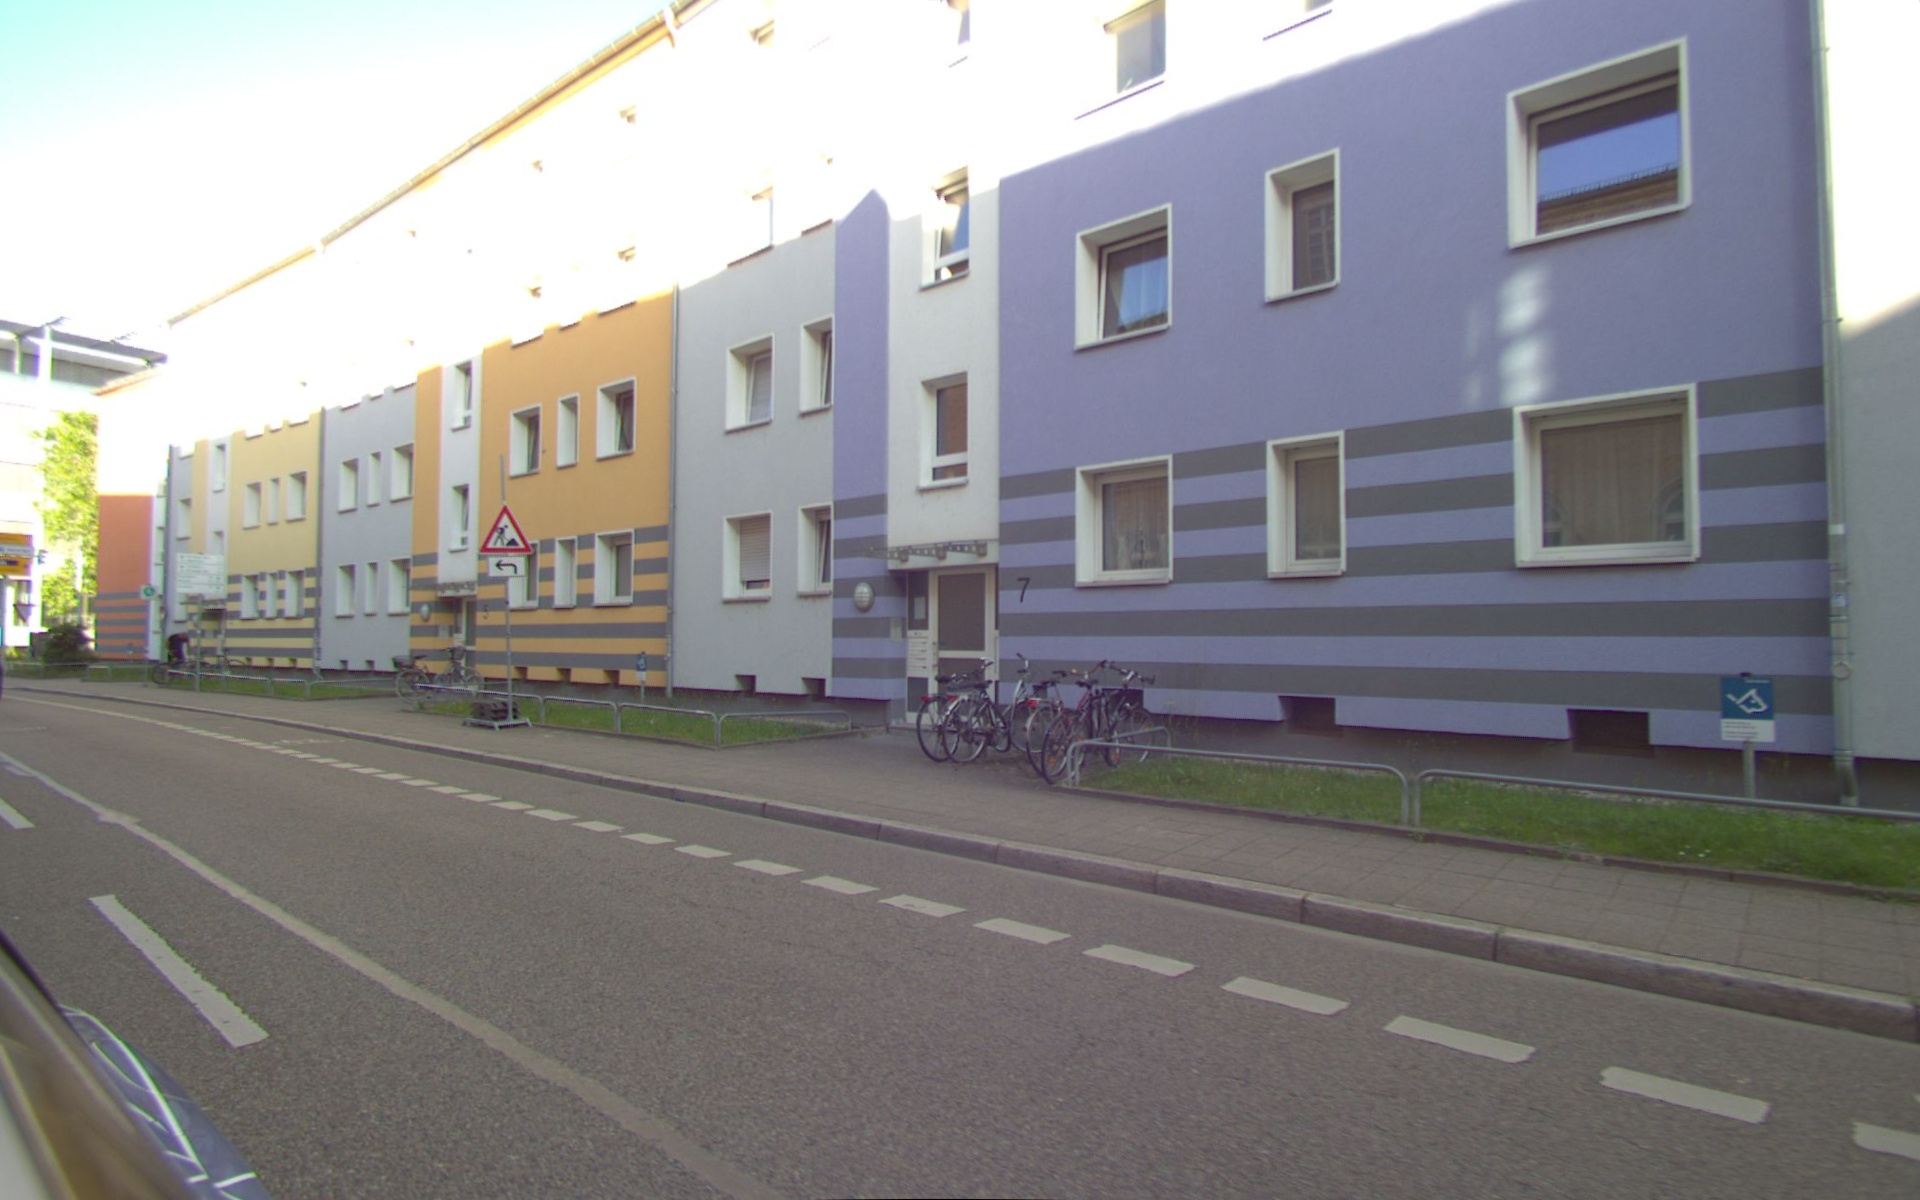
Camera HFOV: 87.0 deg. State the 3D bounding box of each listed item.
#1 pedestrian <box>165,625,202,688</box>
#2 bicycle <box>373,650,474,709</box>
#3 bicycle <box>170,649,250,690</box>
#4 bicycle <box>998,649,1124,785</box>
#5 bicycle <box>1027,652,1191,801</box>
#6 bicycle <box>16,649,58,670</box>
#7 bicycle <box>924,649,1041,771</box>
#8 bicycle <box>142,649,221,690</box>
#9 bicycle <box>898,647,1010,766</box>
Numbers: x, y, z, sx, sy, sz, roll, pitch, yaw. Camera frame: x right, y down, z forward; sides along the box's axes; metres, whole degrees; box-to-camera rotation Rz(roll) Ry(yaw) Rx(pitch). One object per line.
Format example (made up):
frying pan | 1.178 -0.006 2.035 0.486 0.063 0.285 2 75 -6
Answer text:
pedestrian | -23.486 1.687 30.618 0.709 1.869 0.872 1 -3 -30
bicycle | -10.993 1.604 20.802 0.648 1.154 1.739 -2 -3 31
bicycle | -21.991 2.030 29.703 0.648 1.154 1.739 -2 -3 31
bicycle | 1.050 1.128 10.212 0.466 1.251 1.623 -2 -3 38
bicycle | 1.457 1.123 9.579 0.622 1.241 1.989 -2 -3 38
bicycle | -52.337 3.362 57.403 1.965 1.191 0.470 0 -2 1
bicycle | 0.279 1.172 11.241 0.448 1.251 1.569 -2 -3 38
bicycle | -23.272 2.062 30.293 0.648 1.154 1.739 -2 -3 31
bicycle | -0.043 1.163 11.507 0.384 1.251 1.564 -2 -3 38
